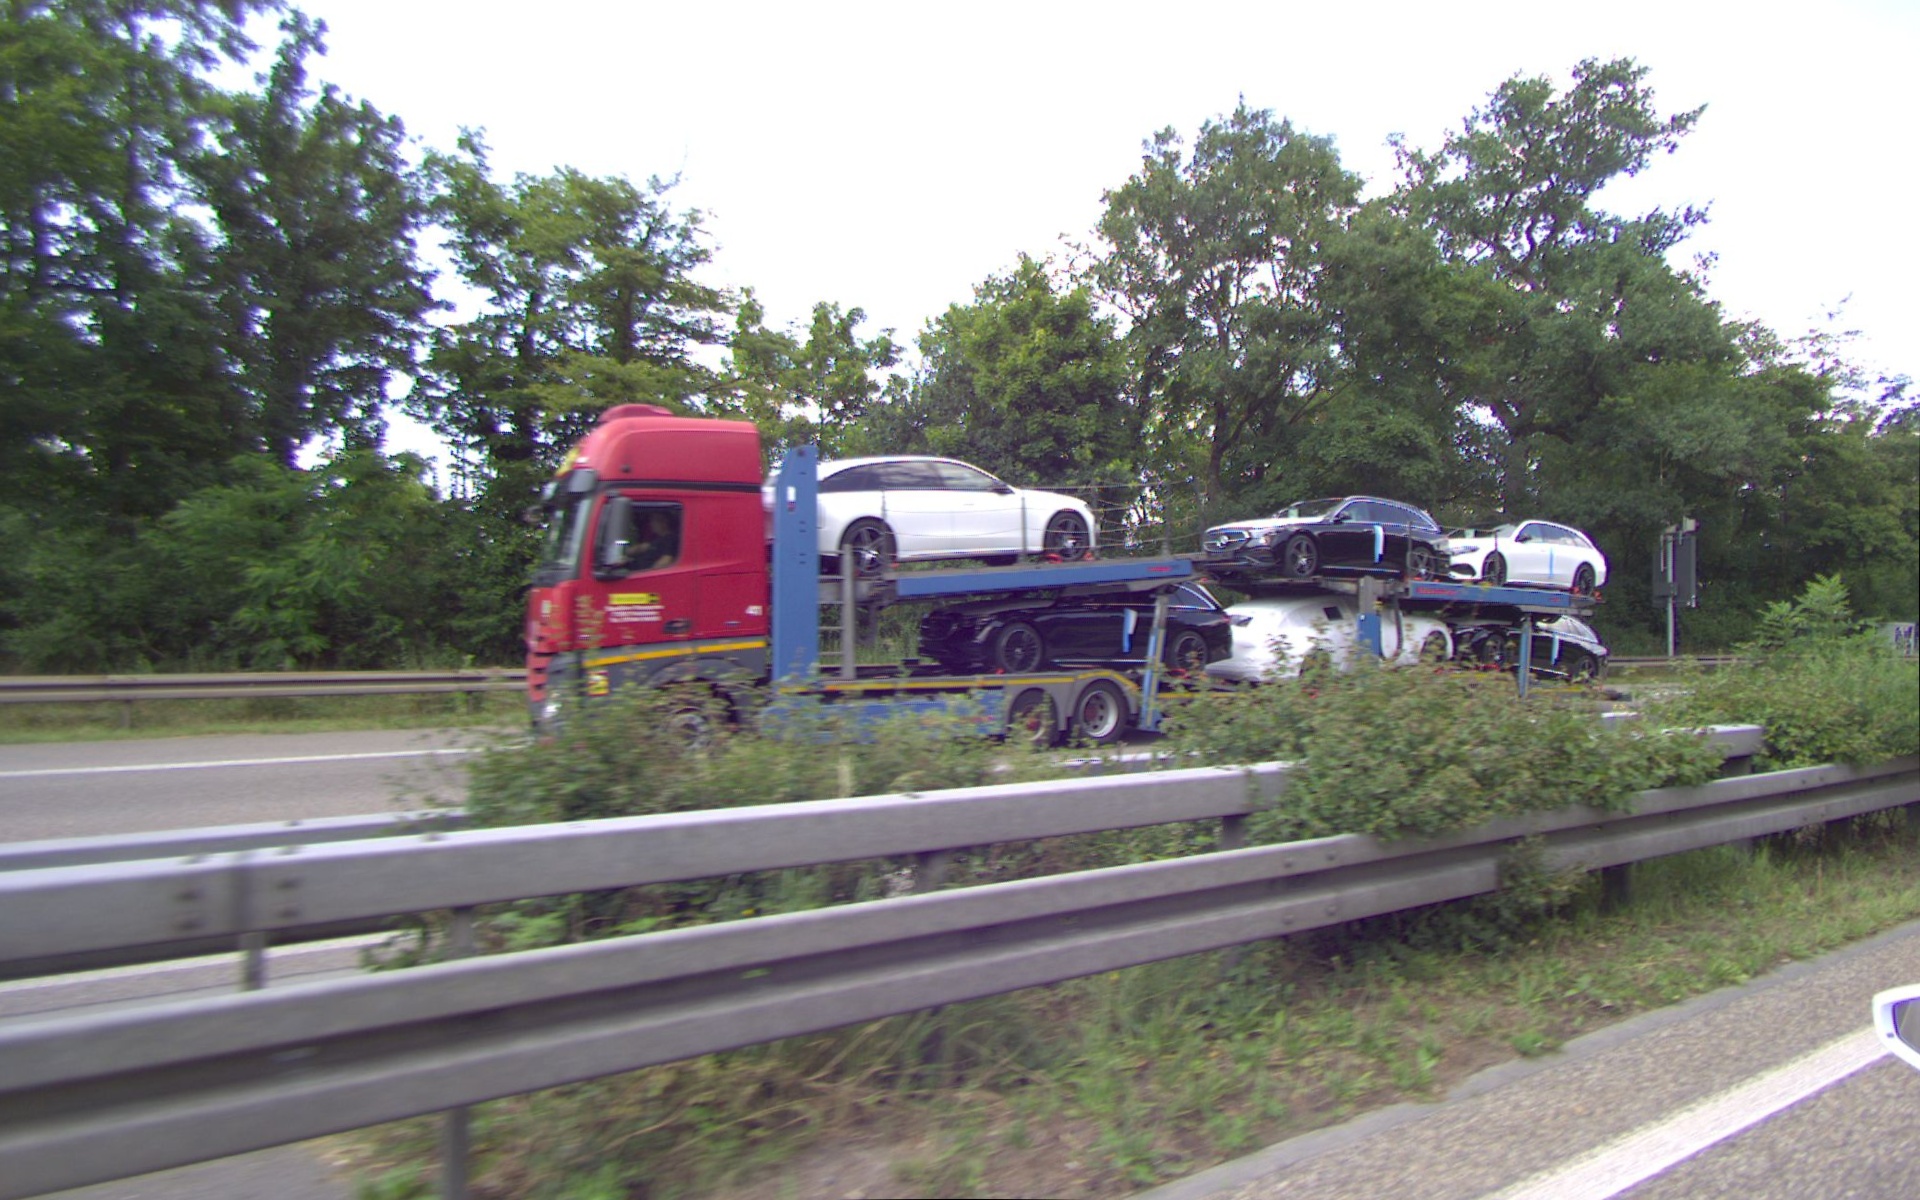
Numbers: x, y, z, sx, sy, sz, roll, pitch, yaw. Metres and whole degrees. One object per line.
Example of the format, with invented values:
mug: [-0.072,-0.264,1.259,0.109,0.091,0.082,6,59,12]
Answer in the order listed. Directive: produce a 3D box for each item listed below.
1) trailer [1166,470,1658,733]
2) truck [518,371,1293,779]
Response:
trailer: [8.687,0.164,18.653,10.187,3.883,2.925,1,-2,-30]
truck: [-0.209,-0.095,13.483,10.203,3.906,2.941,1,-2,-31]
